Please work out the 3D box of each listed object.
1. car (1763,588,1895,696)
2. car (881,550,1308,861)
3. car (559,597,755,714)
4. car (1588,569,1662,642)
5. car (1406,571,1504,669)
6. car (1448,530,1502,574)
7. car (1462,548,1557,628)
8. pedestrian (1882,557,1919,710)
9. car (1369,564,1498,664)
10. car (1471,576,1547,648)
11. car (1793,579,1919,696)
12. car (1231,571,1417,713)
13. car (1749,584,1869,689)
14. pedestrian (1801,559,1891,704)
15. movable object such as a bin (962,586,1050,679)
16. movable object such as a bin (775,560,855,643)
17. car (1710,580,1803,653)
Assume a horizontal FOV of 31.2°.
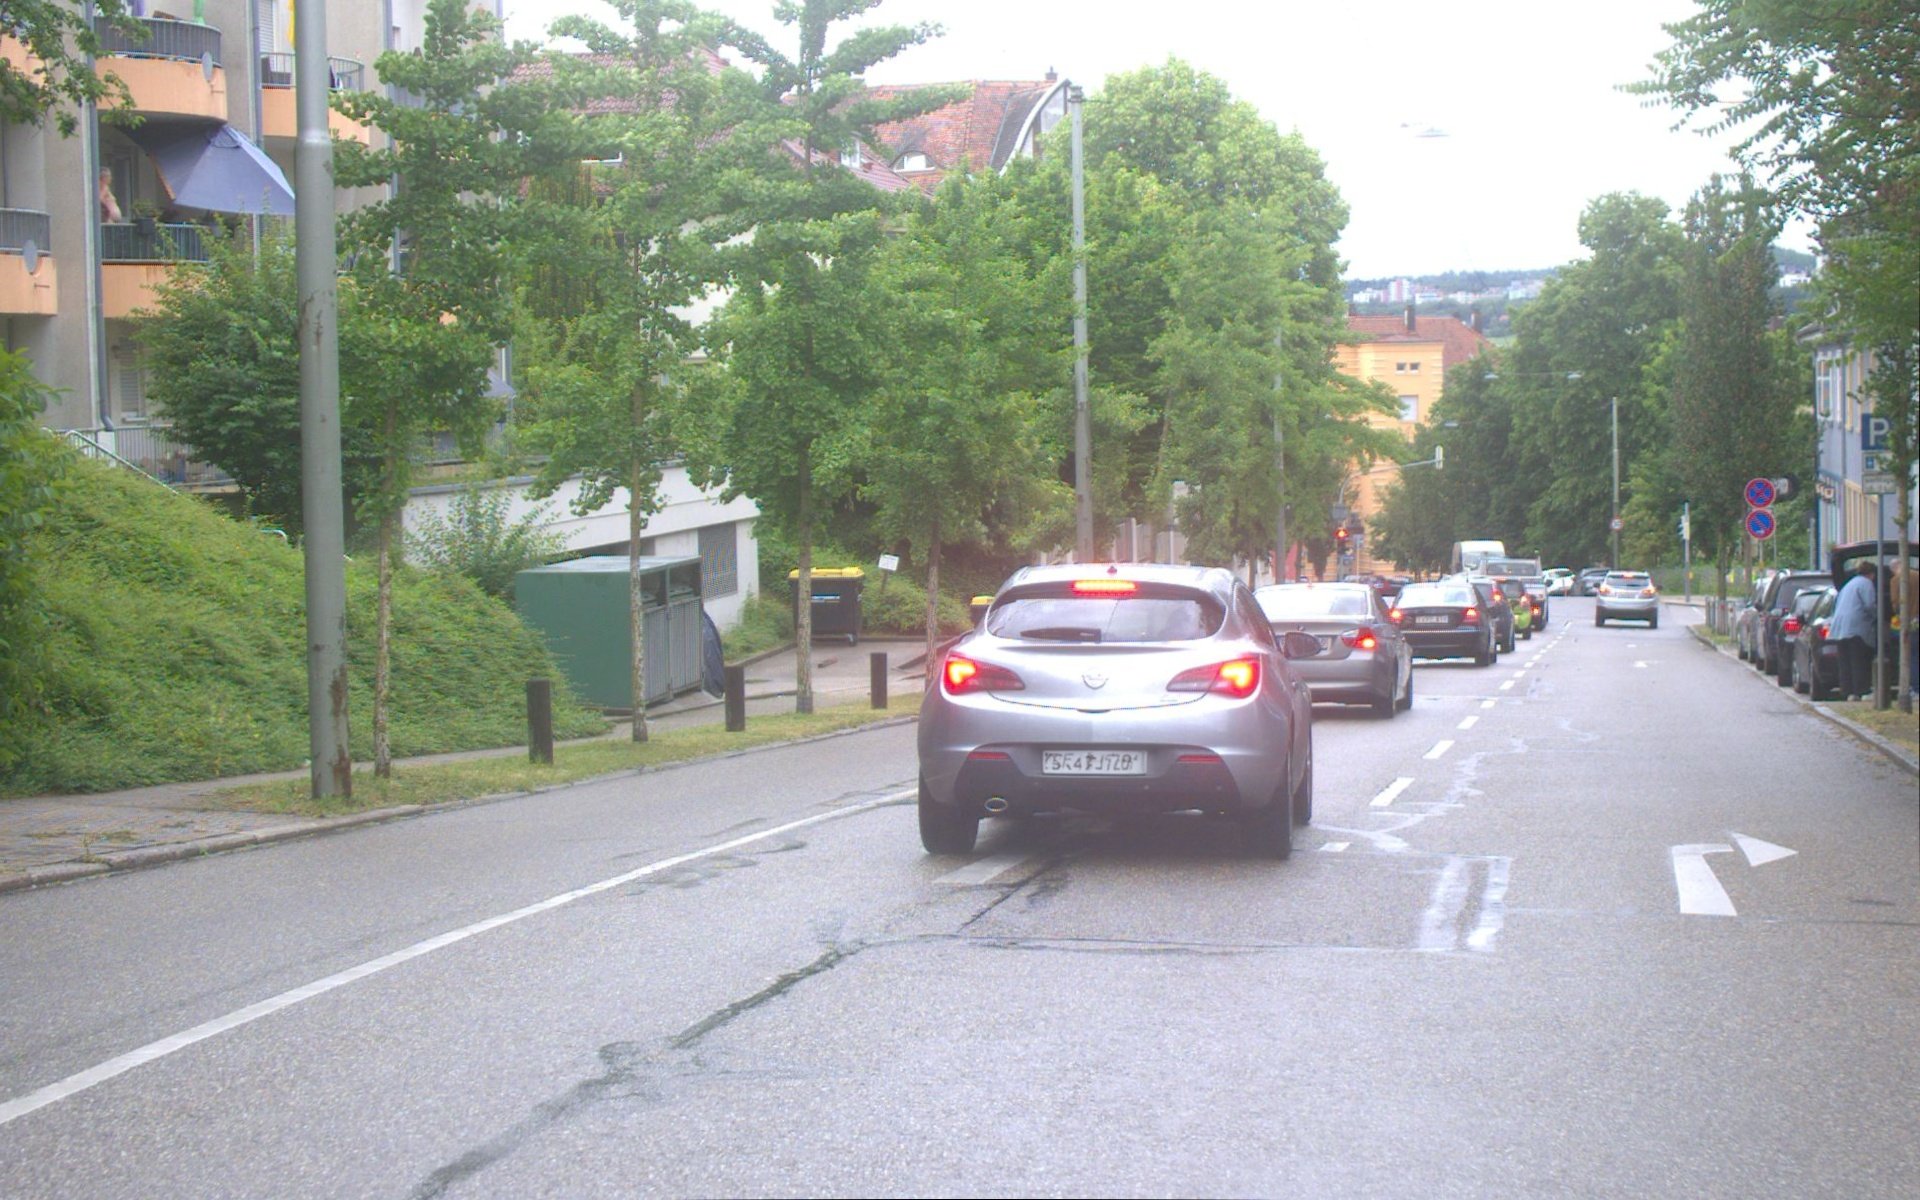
[{"bbox_3d":[12.527,0.577,49.713,1.682,1.459,3.998,0,1,12],"label":"car"},{"bbox_3d":[0.821,0.494,18.087,1.945,1.427,3.883,1,0,7],"label":"car"},{"bbox_3d":[-4.062,0.729,46.669,1.742,1.452,3.883,-3,-1,8],"label":"car"},{"bbox_3d":[20.015,0.140,103.494,1.994,2.029,4.733,4,1,11],"label":"car"},{"bbox_3d":[9.920,0.370,68.757,1.769,1.775,3.975,4,1,9],"label":"car"},{"bbox_3d":[22.334,-2.066,148.988,1.995,1.778,3.998,4,1,12],"label":"car"},{"bbox_3d":[15.307,-0.347,95.579,2.335,2.029,4.732,4,1,11],"label":"car"},{"bbox_3d":[11.623,0.393,41.672,0.687,1.830,0.664,-2,0,28],"label":"pedestrian"},{"bbox_3d":[7.905,0.202,57.163,1.961,1.467,3.949,4,1,9],"label":"car"},{"bbox_3d":[13.734,0.295,86.058,1.755,1.645,3.998,4,0,9],"label":"car"},{"bbox_3d":[11.604,0.477,44.063,1.504,1.430,3.998,0,-1,9],"label":"car"},{"bbox_3d":[3.809,0.399,36.188,1.798,1.318,3.999,2,1,5],"label":"car"},{"bbox_3d":[13.386,0.543,54.345,1.686,1.565,3.998,0,1,12],"label":"car"},{"bbox_3d":[10.795,0.380,41.918,0.734,1.718,0.765,-2,0,-14],"label":"pedestrian"},{"bbox_3d":[0.711,0.494,53.086,1.272,1.382,0.489,2,1,9],"label":"movable object such as a bin"},{"bbox_3d":[-2.498,0.017,59.384,1.272,1.382,0.489,2,1,9],"label":"movable object such as a bin"},{"bbox_3d":[17.658,0.345,76.335,1.907,1.565,3.998,0,1,12],"label":"car"}]
